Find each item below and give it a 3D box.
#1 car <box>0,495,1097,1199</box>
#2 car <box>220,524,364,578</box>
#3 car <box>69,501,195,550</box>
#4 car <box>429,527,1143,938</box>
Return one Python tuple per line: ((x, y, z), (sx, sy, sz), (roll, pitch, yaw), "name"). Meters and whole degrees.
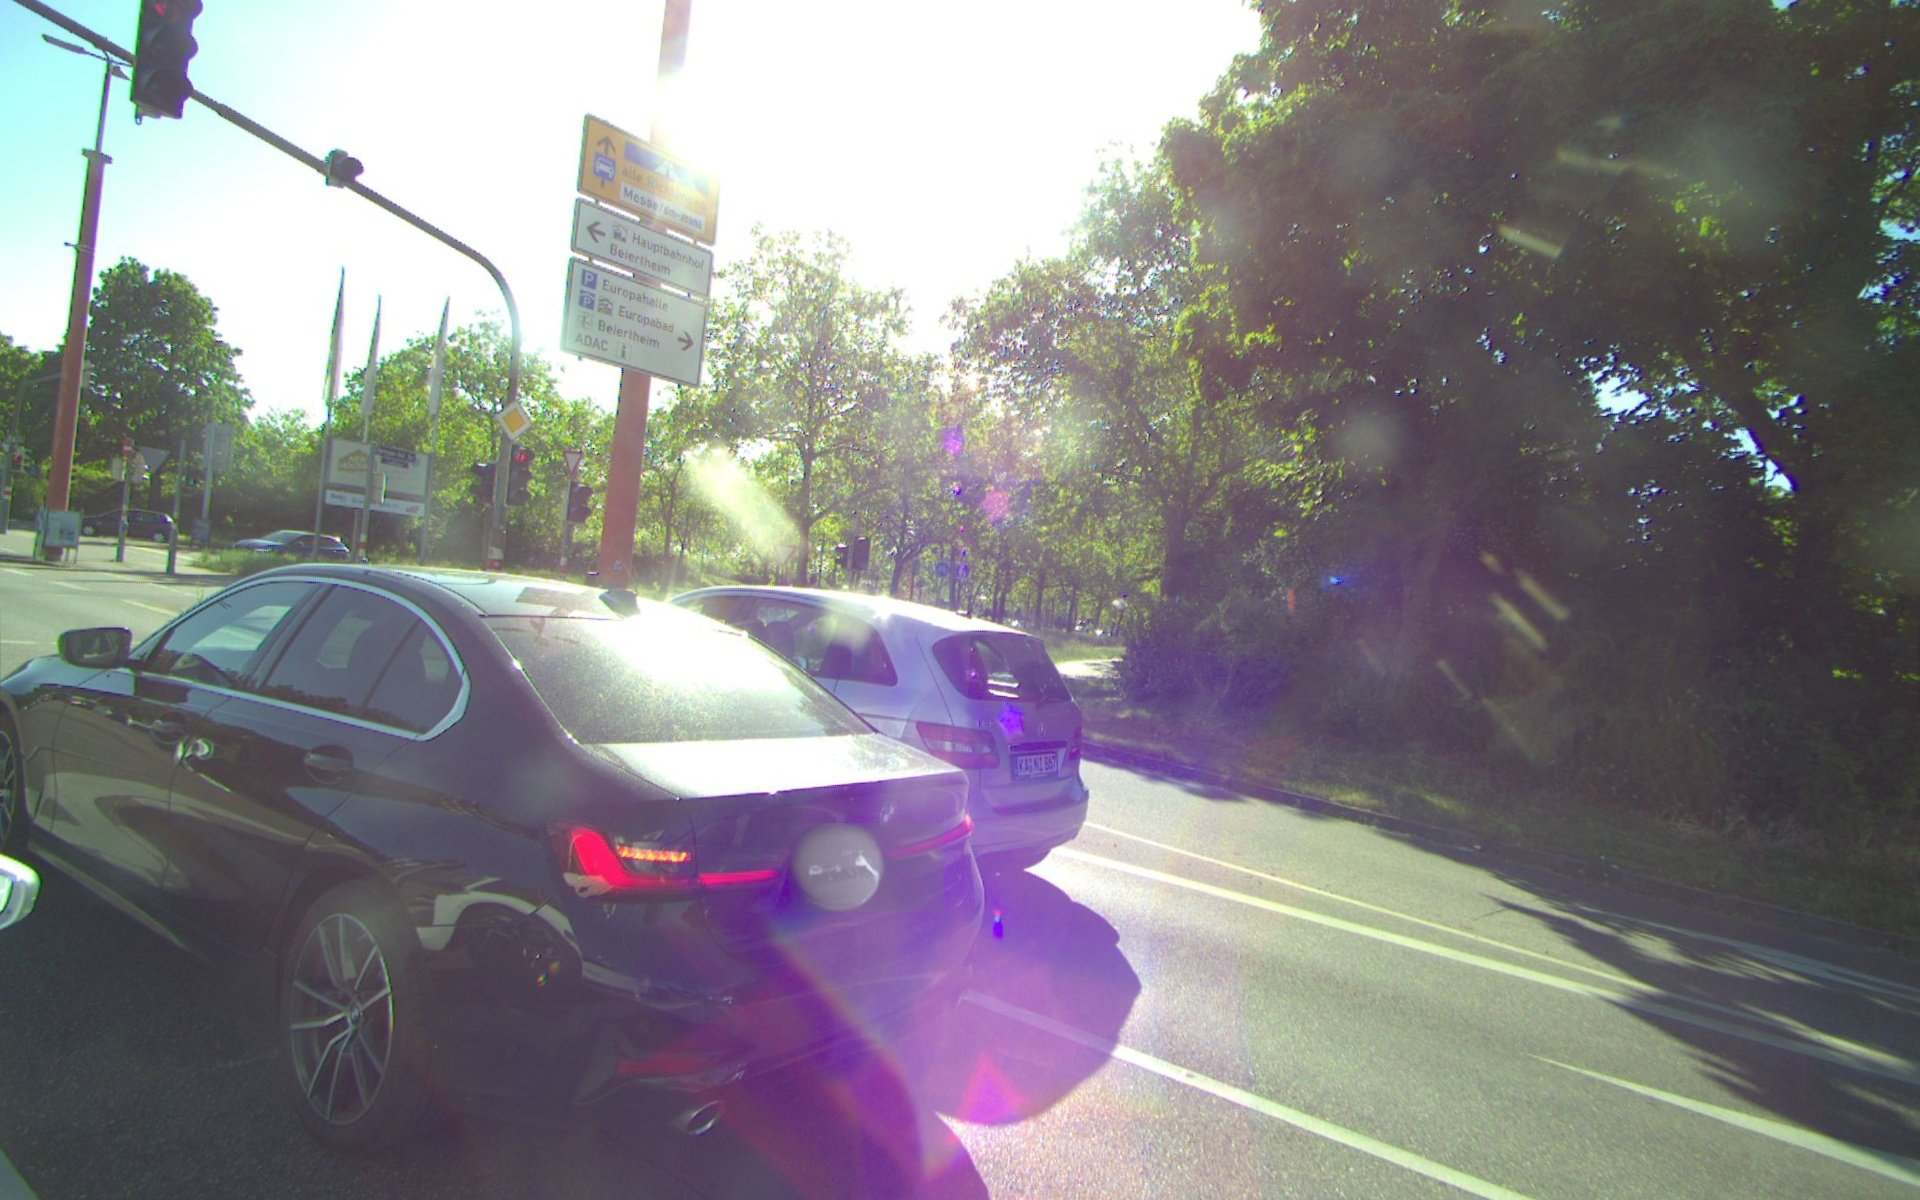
((-1.963, 0.525, 3.880), (4.403, 1.411, 1.996), (7, -1, 32), "car")
((-25.090, -1.811, 37.982), (1.848, 1.445, 4.283), (7, -1, 14), "car")
((-38.203, -3.414, 46.575), (4.243, 1.592, 2.145), (8, -1, -36), "car")
((-1.285, 0.636, 6.788), (4.403, 1.706, 1.970), (7, -1, 32), "car")
